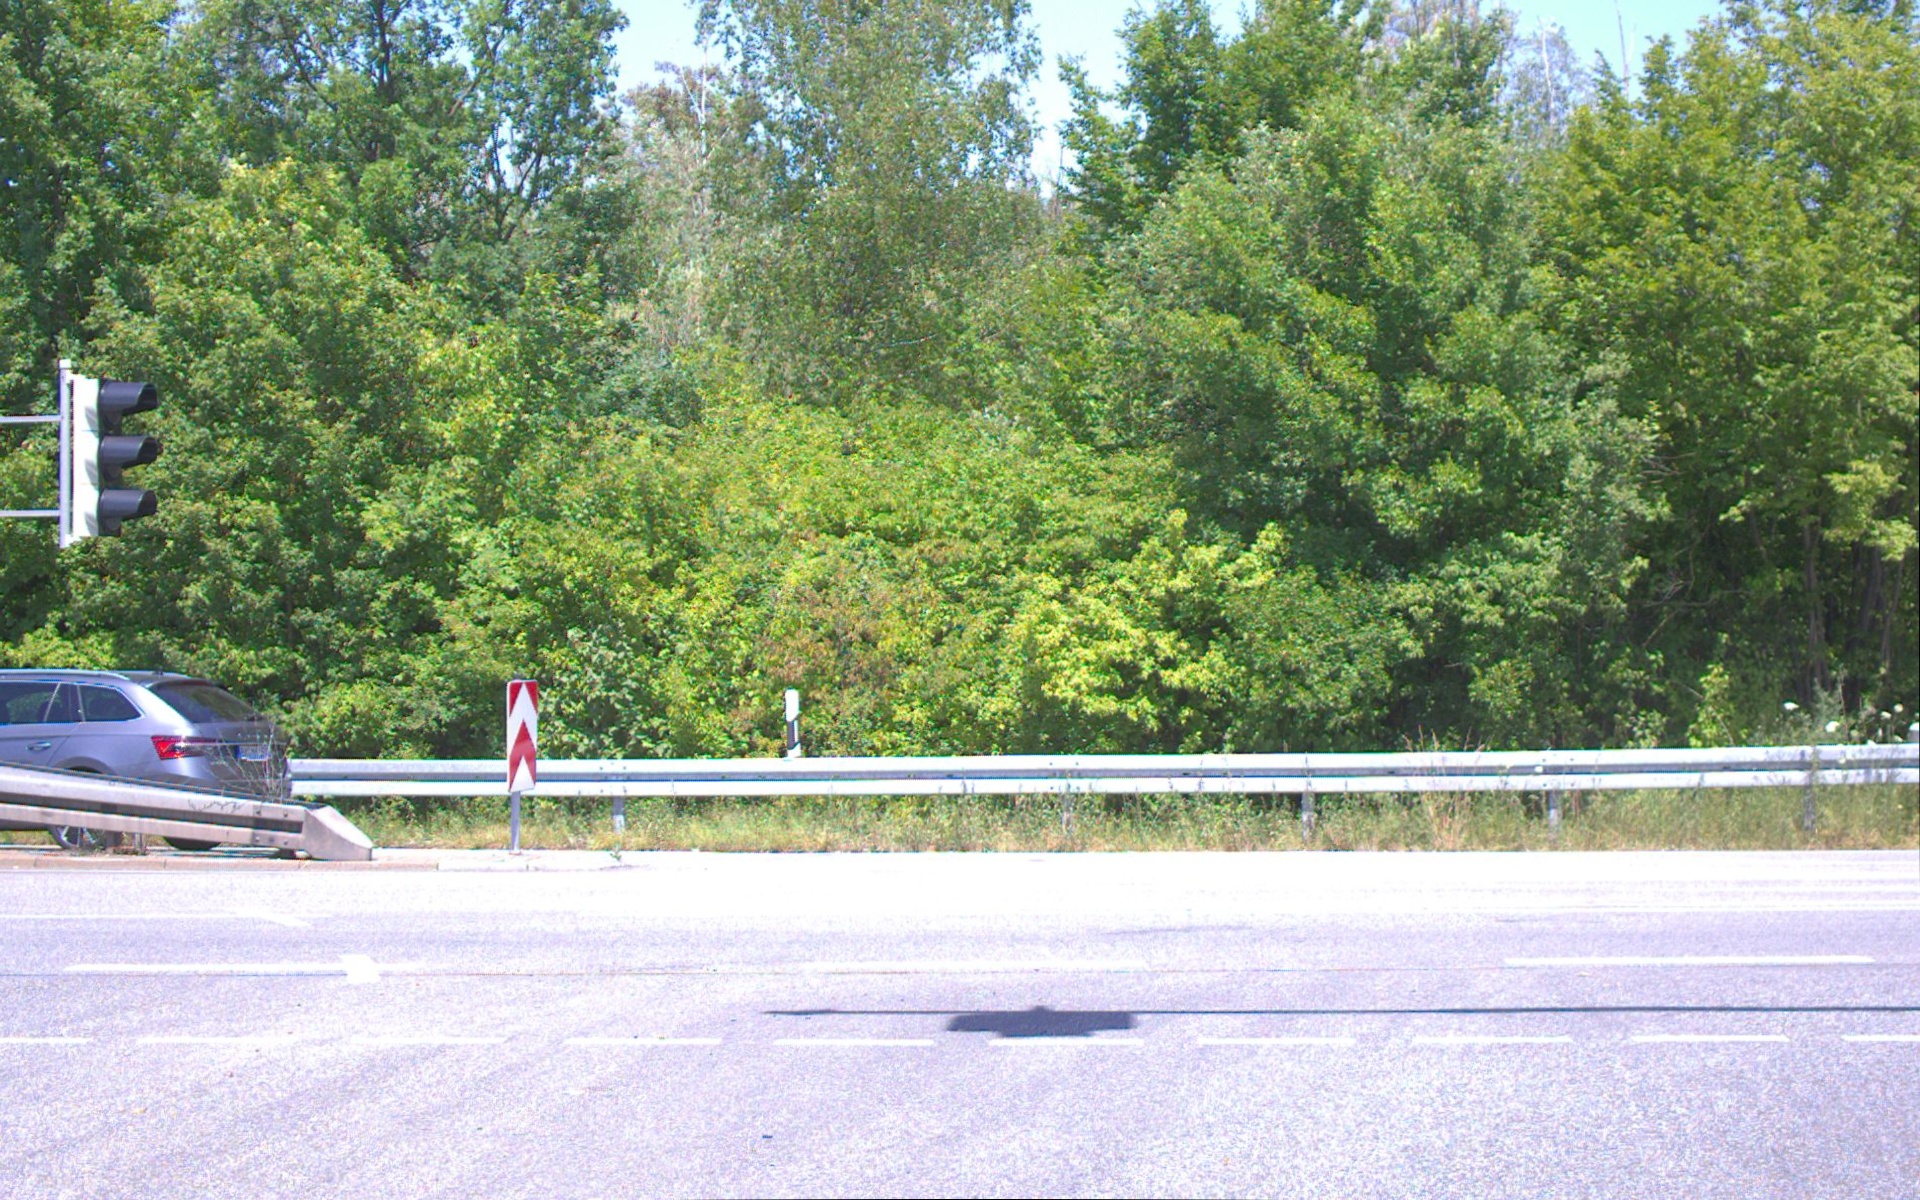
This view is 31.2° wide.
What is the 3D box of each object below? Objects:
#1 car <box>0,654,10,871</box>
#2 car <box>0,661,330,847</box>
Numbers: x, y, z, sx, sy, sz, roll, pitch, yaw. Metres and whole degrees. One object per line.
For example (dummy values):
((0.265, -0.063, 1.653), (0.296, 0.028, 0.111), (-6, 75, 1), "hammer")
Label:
((-8.388, 1.022, 22.189), (3.917, 1.429, 1.811), (1, -2, 9), "car")
((-7.611, 1.241, 28.269), (4.402, 1.429, 1.810), (0, -3, 16), "car")
